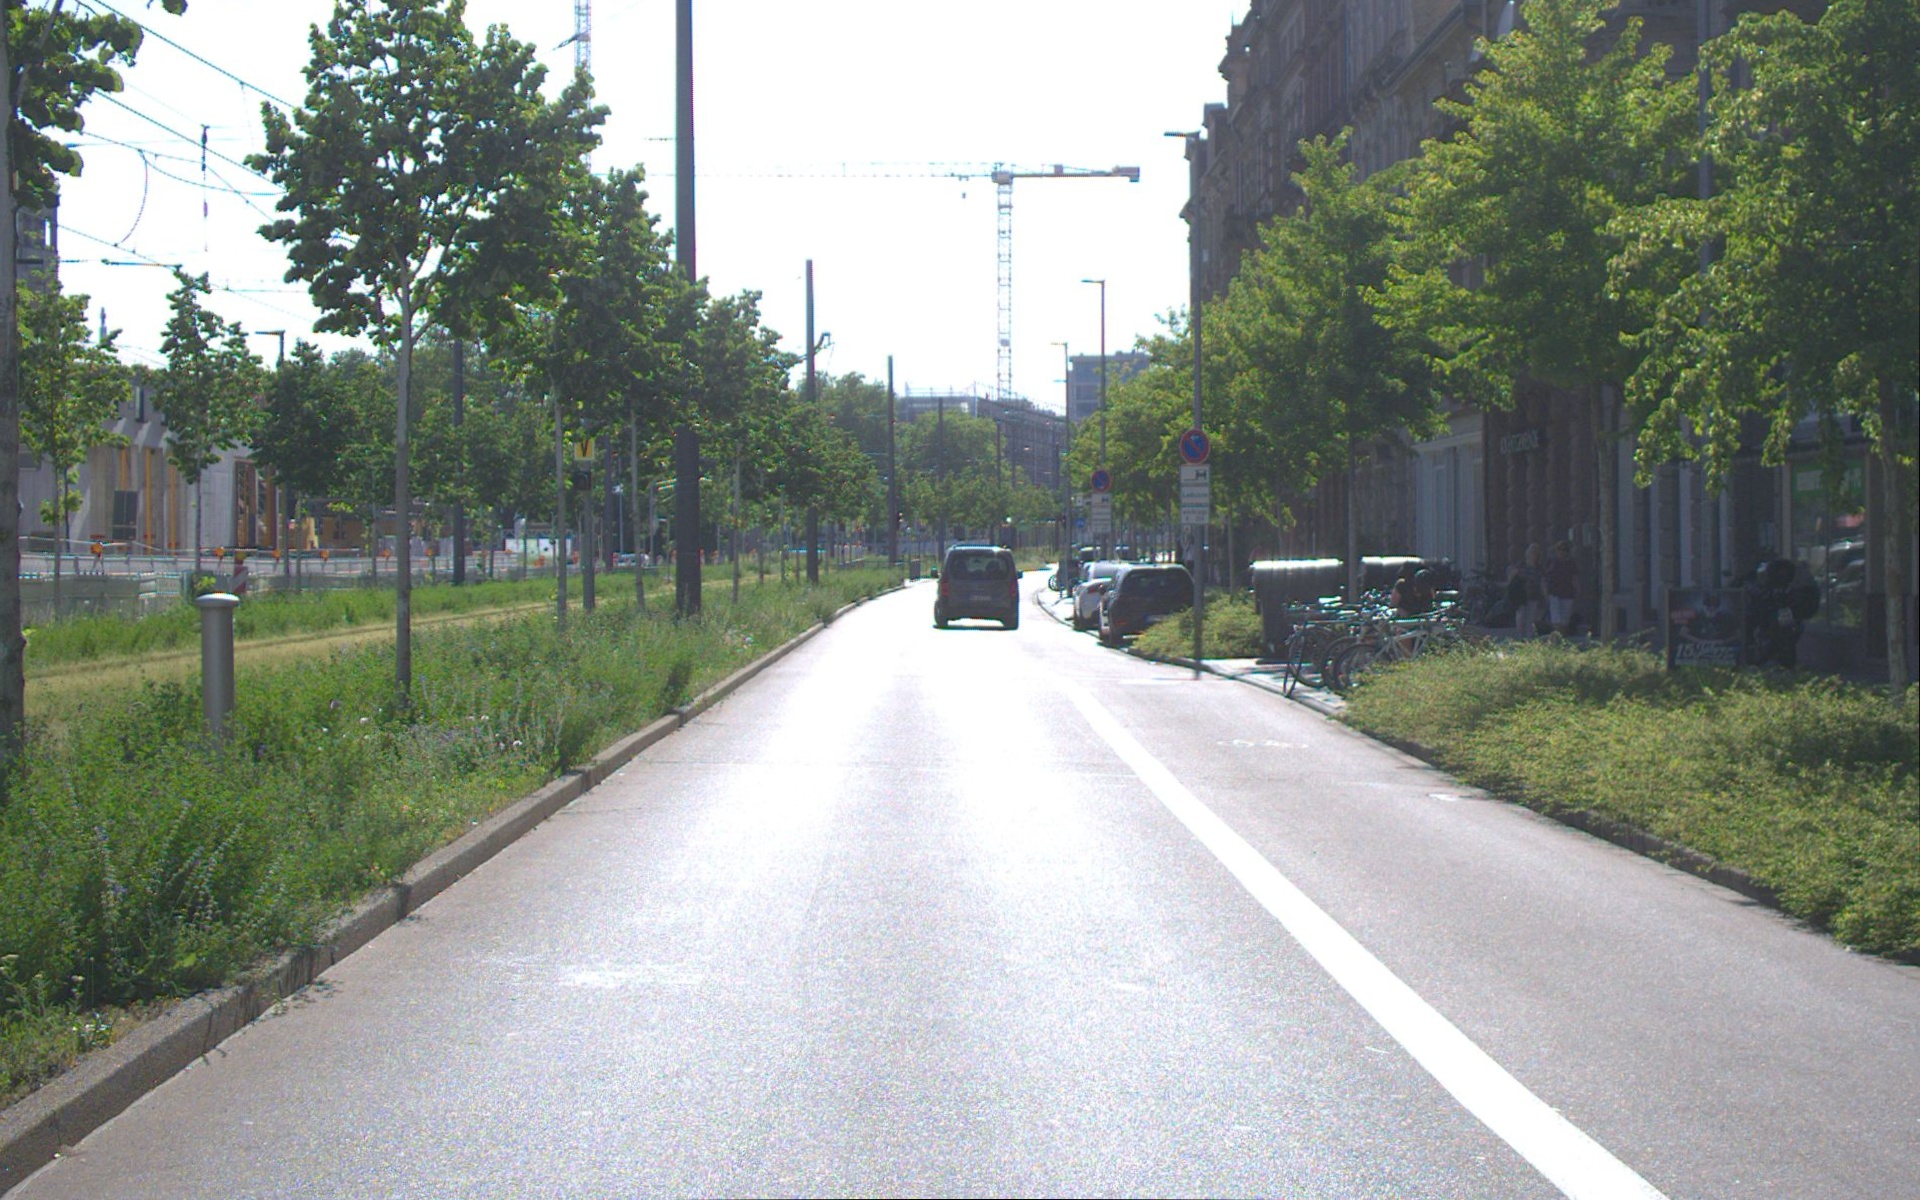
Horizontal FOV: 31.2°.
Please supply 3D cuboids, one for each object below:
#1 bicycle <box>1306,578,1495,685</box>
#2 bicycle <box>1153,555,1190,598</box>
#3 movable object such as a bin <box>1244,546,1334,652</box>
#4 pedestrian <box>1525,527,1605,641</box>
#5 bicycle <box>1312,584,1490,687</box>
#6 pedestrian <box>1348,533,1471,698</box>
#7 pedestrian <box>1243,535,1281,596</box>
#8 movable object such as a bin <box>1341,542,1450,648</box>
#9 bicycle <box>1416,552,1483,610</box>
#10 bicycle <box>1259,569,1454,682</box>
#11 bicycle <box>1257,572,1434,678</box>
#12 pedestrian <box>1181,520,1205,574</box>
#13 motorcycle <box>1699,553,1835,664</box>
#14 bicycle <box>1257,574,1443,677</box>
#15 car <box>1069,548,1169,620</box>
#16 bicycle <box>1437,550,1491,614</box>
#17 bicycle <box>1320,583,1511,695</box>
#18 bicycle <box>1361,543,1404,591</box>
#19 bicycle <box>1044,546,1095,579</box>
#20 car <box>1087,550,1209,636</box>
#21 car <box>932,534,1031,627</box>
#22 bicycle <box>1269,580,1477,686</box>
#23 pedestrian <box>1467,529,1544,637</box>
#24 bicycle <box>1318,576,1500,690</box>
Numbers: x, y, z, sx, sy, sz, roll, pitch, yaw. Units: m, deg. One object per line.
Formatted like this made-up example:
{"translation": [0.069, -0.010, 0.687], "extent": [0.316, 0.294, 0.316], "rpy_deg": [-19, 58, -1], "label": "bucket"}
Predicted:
{"translation": [4.840, 0.347, 37.817], "extent": [1.977, 1.104, 0.435], "rpy_deg": [-2, 0, -3], "label": "bicycle"}
{"translation": [5.730, -0.635, 93.247], "extent": [0.650, 1.116, 2.173], "rpy_deg": [-1, 0, -6], "label": "bicycle"}
{"translation": [4.880, -0.030, 51.064], "extent": [1.271, 1.458, 1.644], "rpy_deg": [1, 3, 4], "label": "movable object such as a bin"}
{"translation": [8.939, -0.241, 50.844], "extent": [0.971, 1.633, 0.992], "rpy_deg": [-1, 2, 0], "label": "pedestrian"}
{"translation": [4.799, 0.382, 37.474], "extent": [1.814, 1.052, 0.572], "rpy_deg": [-2, 0, -6], "label": "bicycle"}
{"translation": [4.917, 0.171, 37.608], "extent": [0.900, 1.730, 0.849], "rpy_deg": [-4, 1, -40], "label": "pedestrian"}
{"translation": [8.694, -0.988, 99.006], "extent": [0.996, 1.725, 0.866], "rpy_deg": [1, 0, 0], "label": "pedestrian"}
{"translation": [6.476, -0.073, 51.235], "extent": [1.373, 1.490, 1.749], "rpy_deg": [-2, 0, 1], "label": "movable object such as a bin"}
{"translation": [9.858, -0.392, 69.266], "extent": [0.875, 1.101, 2.182], "rpy_deg": [-3, 1, -3], "label": "bicycle"}
{"translation": [4.539, 0.283, 39.327], "extent": [2.146, 1.150, 0.429], "rpy_deg": [-3, 1, -13], "label": "bicycle"}
{"translation": [4.573, 0.293, 40.819], "extent": [1.974, 1.120, 0.482], "rpy_deg": [-4, 2, -5], "label": "bicycle"}
{"translation": [8.953, -2.022, 132.126], "extent": [0.817, 2.007, 1.046], "rpy_deg": [1, -2, 0], "label": "pedestrian"}
{"translation": [9.537, 0.087, 40.750], "extent": [0.866, 1.262, 2.982], "rpy_deg": [1, 0, -1], "label": "motorcycle"}
{"translation": [4.582, 0.293, 40.411], "extent": [2.043, 1.103, 0.611], "rpy_deg": [-3, 1, -6], "label": "bicycle"}
{"translation": [3.513, -0.375, 76.651], "extent": [1.951, 1.490, 5.105], "rpy_deg": [-2, 1, 0], "label": "car"}
{"translation": [9.698, -0.342, 66.201], "extent": [0.748, 1.197, 1.801], "rpy_deg": [-1, 0, 0], "label": "bicycle"}
{"translation": [4.766, 0.405, 36.001], "extent": [1.891, 1.105, 0.518], "rpy_deg": [-2, 0, -5], "label": "bicycle"}
{"translation": [9.867, -0.784, 80.397], "extent": [0.721, 1.086, 2.198], "rpy_deg": [-1, 1, 0], "label": "bicycle"}
{"translation": [4.269, -1.467, 134.012], "extent": [1.878, 1.229, 0.500], "rpy_deg": [-3, 0, -5], "label": "bicycle"}
{"translation": [3.456, -0.134, 63.944], "extent": [1.765, 1.472, 4.449], "rpy_deg": [-2, 0, -3], "label": "car"}
{"translation": [0.458, -0.438, 77.234], "extent": [1.993, 2.007, 4.000], "rpy_deg": [1, 0, -3], "label": "car"}
{"translation": [4.682, 0.365, 38.983], "extent": [2.284, 1.098, 0.486], "rpy_deg": [-2, 1, -14], "label": "bicycle"}
{"translation": [8.099, -0.264, 51.063], "extent": [0.950, 1.561, 1.080], "rpy_deg": [-1, 2, -1], "label": "pedestrian"}
{"translation": [4.743, 0.344, 36.355], "extent": [1.866, 1.175, 0.374], "rpy_deg": [-1, 0, -3], "label": "bicycle"}
